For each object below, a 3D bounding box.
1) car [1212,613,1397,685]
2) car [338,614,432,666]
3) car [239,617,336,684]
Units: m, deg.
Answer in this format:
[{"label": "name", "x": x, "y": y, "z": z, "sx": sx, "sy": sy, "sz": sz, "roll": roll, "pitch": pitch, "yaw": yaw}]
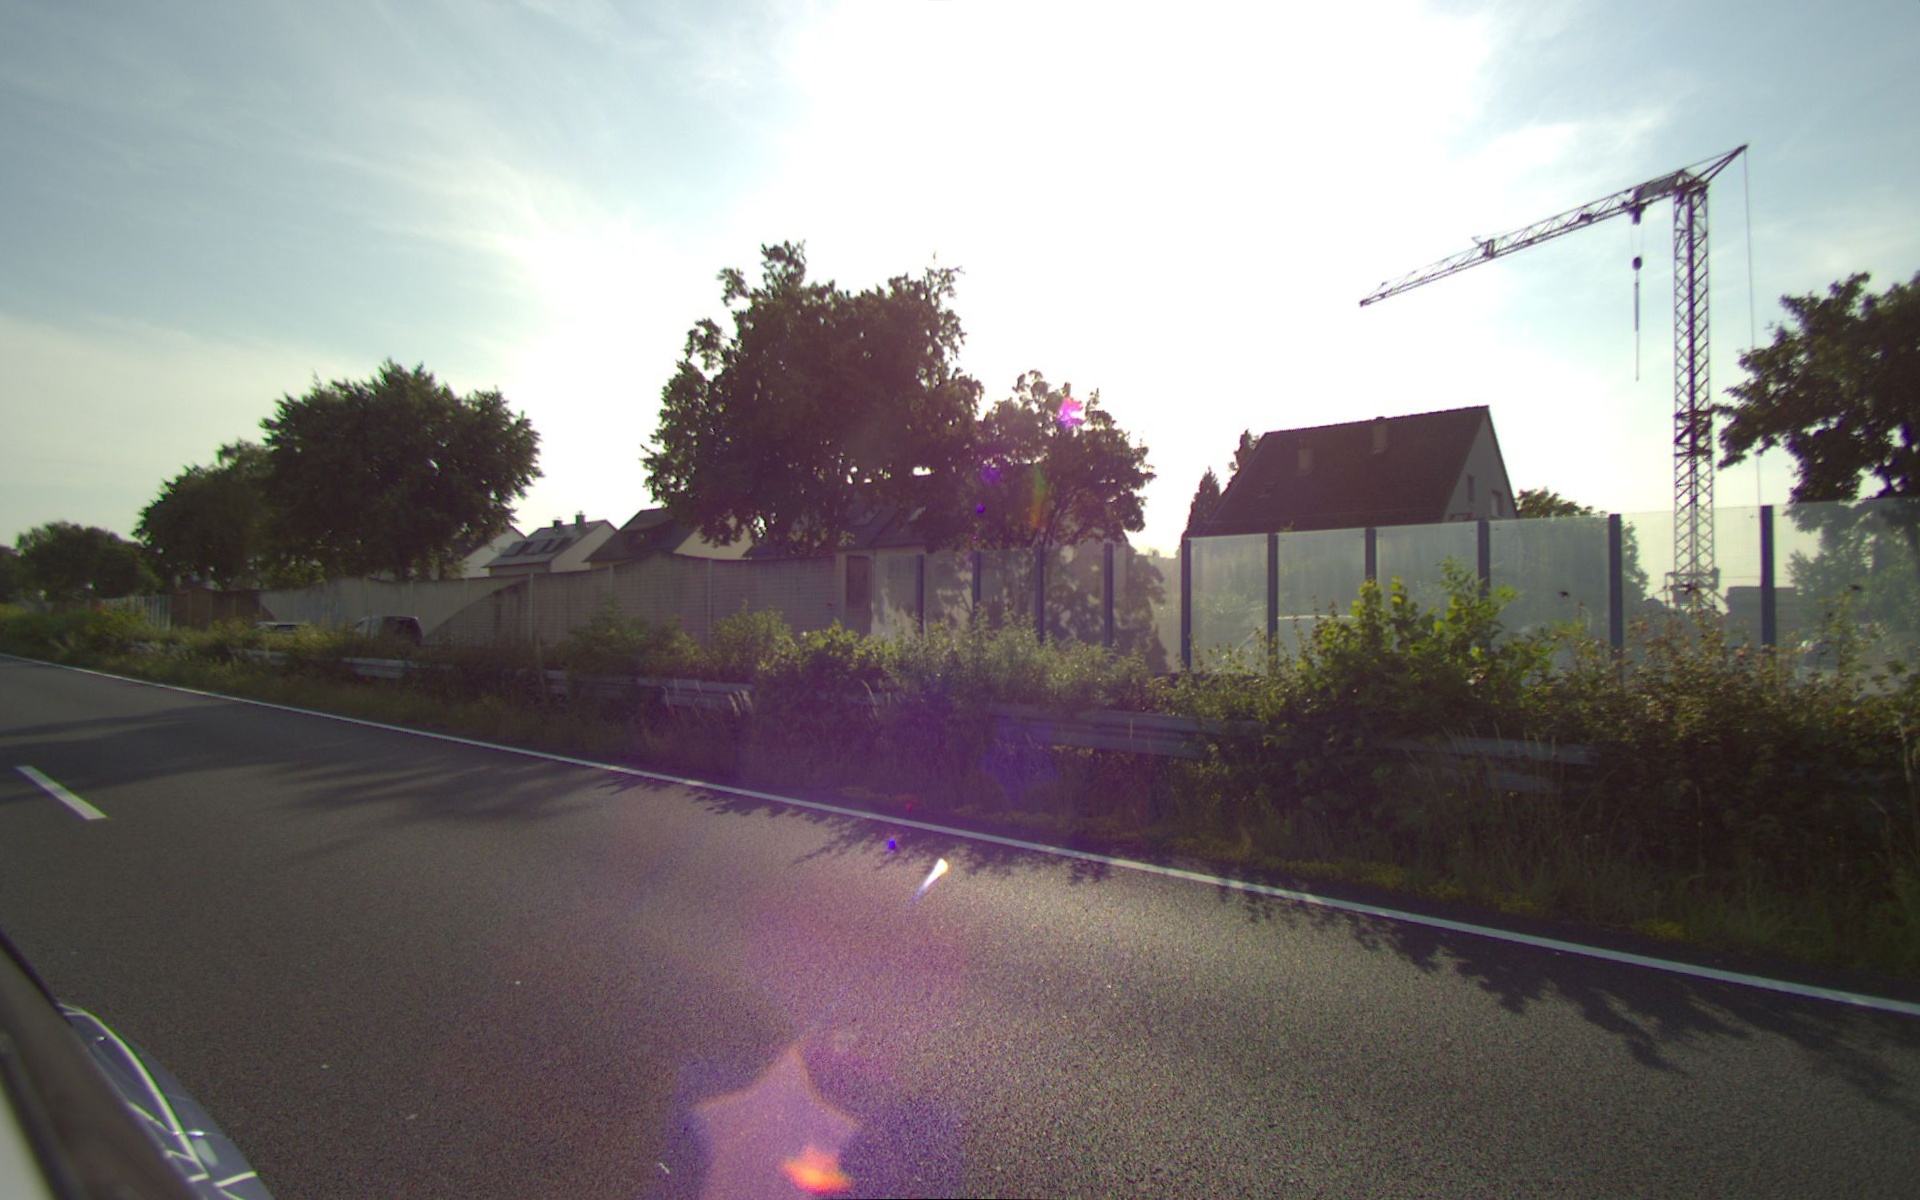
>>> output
[{"label": "car", "x": 10.124, "y": 1.375, "z": 30.003, "sx": 4.912, "sy": 1.933, "sz": 1.767, "roll": -1, "pitch": 0, "yaw": 41}, {"label": "car", "x": -21.986, "y": 1.472, "z": 38.647, "sx": 4.298, "sy": 1.808, "sz": 1.818, "roll": -1, "pitch": 0, "yaw": 41}, {"label": "car", "x": -22.064, "y": 1.590, "z": 33.187, "sx": 3.489, "sy": 2.029, "sz": 1.790, "roll": -1, "pitch": 0, "yaw": 41}]
